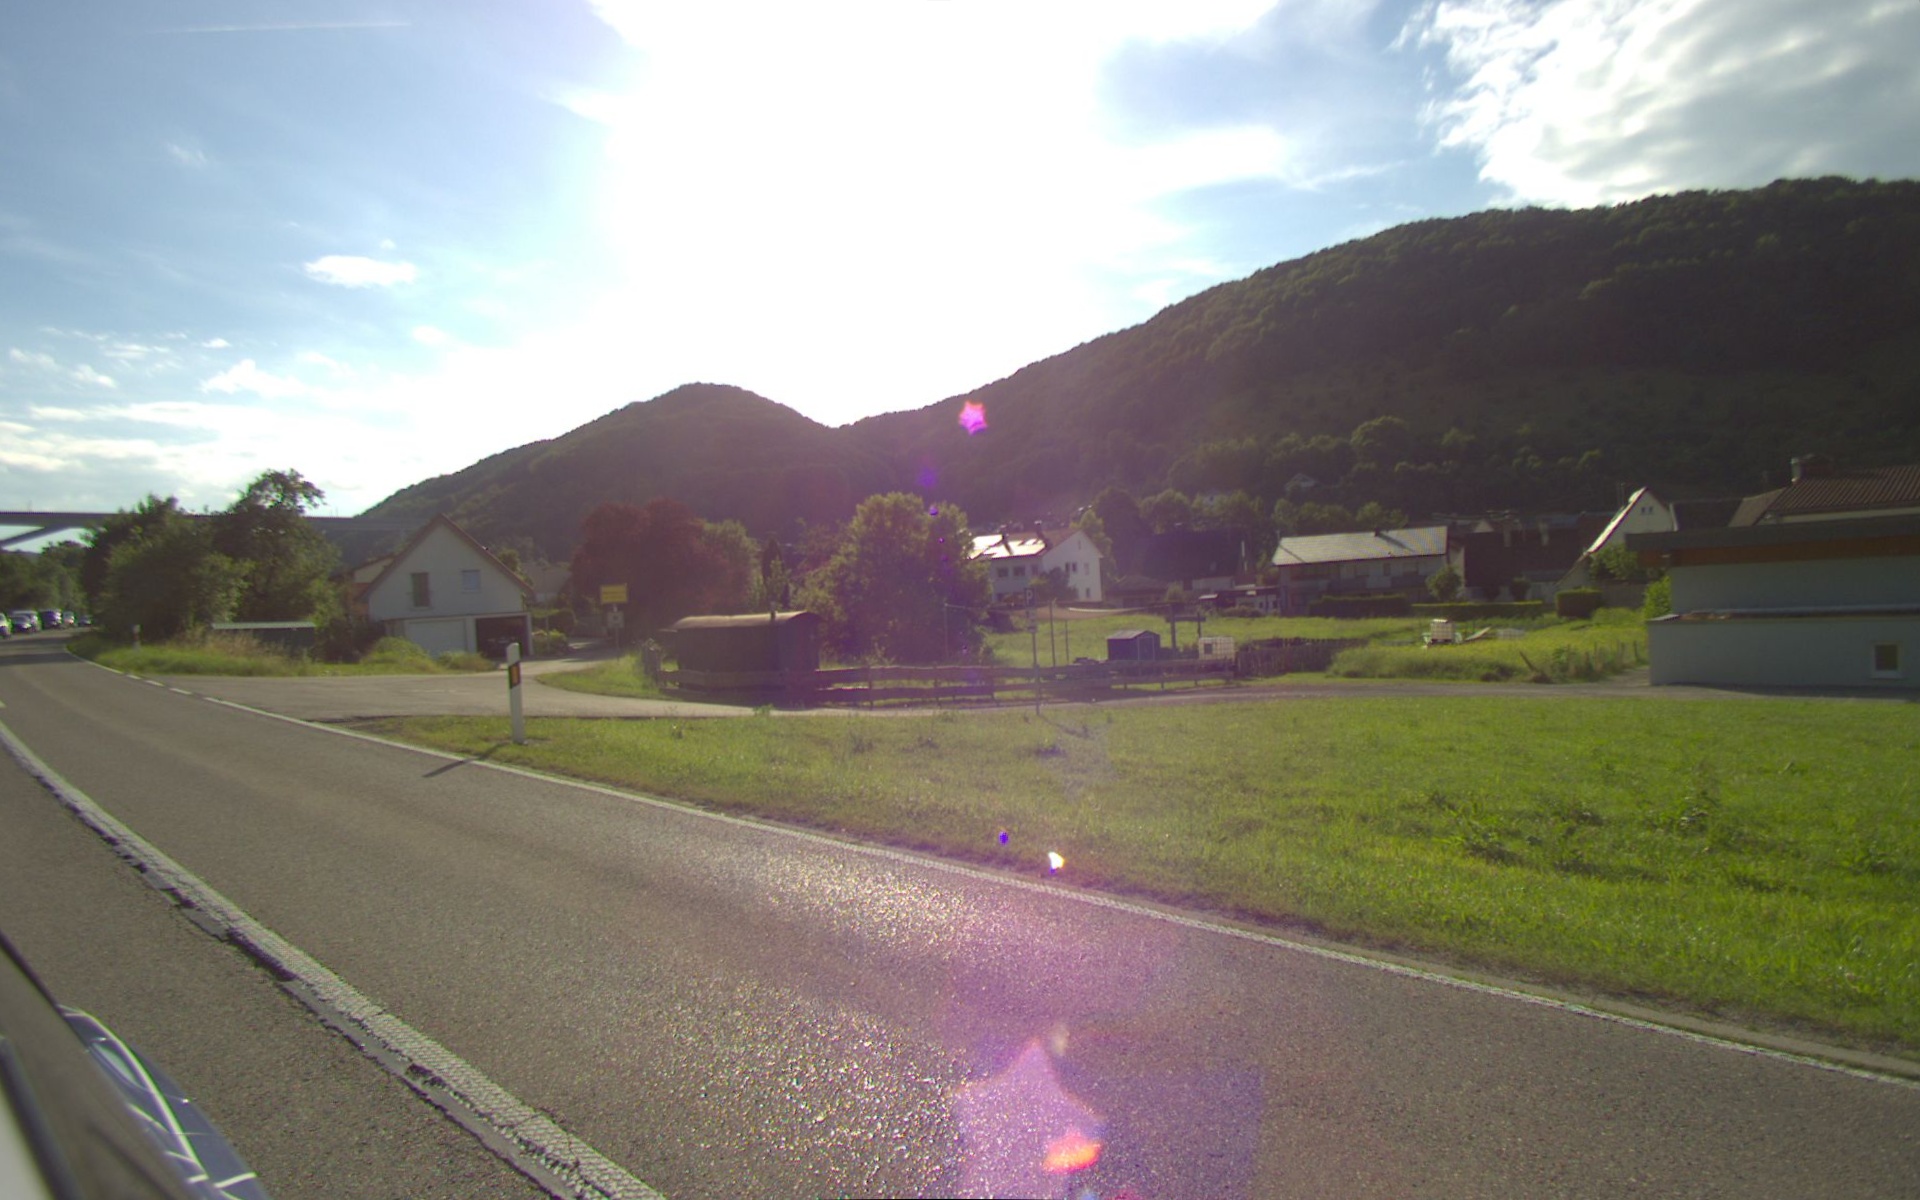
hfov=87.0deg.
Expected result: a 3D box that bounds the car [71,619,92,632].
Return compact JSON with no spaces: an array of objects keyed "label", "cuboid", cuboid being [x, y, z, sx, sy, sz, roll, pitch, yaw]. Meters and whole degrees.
[{"label":"car","cuboid":[-112.908,3.294,130.100,1.813,1.564,4.186,1,-2,-38]}]

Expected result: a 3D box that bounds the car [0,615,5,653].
[{"label":"car","cuboid":[-52.784,1.793,54.425,1.886,2.029,4.006,2,-2,-41]}]

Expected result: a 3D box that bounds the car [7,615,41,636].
[{"label":"car","cuboid":[-77.730,2.107,84.063,1.791,1.630,4.007,1,-2,-39]}]

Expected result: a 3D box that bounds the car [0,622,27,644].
[{"label":"car","cuboid":[-71.733,2.484,76.308,1.814,1.564,4.185,2,-2,-40]}]

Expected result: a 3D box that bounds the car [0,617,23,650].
[{"label":"car","cuboid":[-60.228,2.105,63.490,1.886,2.029,4.006,2,-2,-40]}]

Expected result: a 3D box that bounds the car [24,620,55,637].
[{"label":"car","cuboid":[-85.663,2.645,94.210,1.790,1.630,4.008,1,-2,-38]}]
